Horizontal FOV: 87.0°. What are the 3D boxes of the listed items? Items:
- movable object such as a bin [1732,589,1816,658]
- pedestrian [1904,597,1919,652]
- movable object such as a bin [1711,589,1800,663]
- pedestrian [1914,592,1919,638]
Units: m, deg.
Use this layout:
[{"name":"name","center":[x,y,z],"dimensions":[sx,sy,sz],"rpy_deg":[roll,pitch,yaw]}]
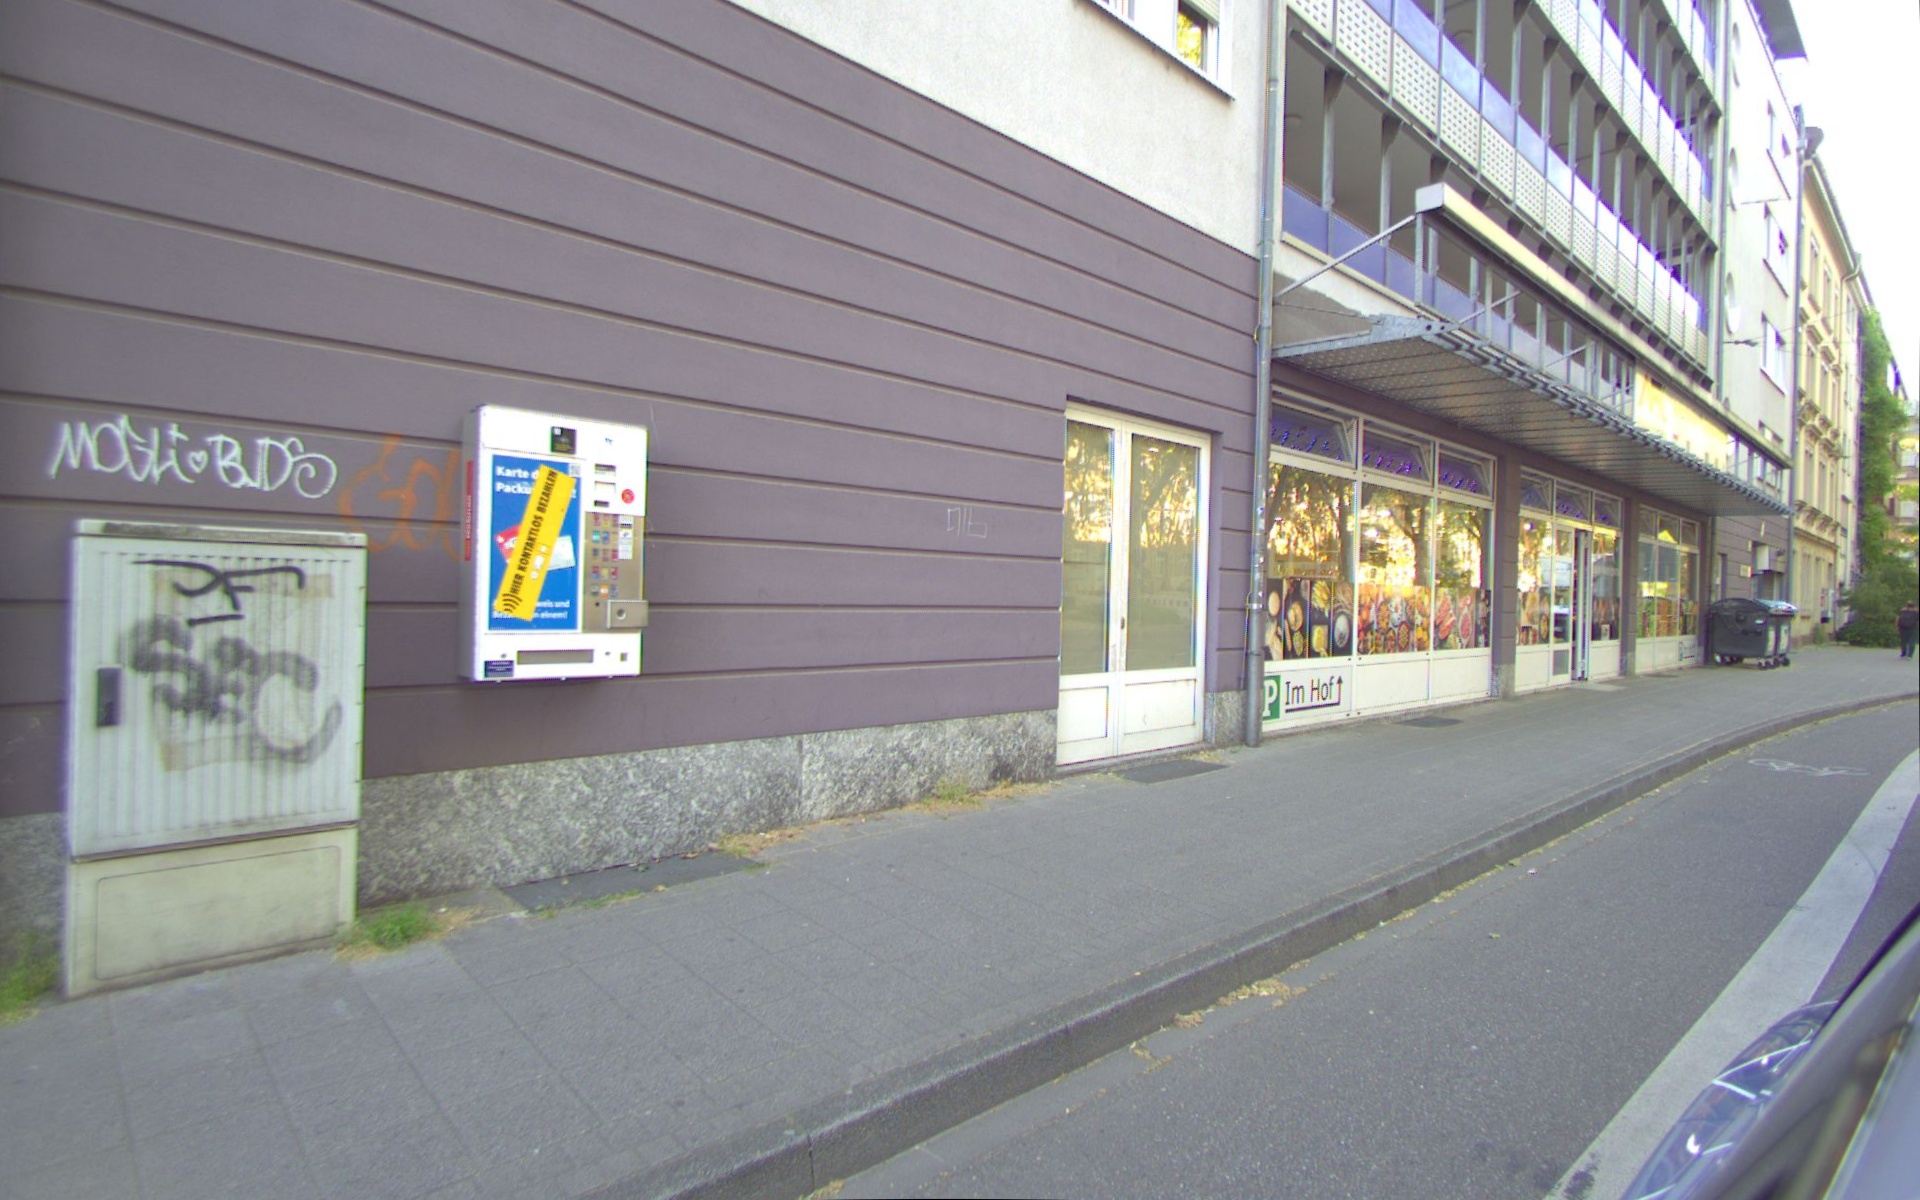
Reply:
[{"name":"movable object such as a bin","center":[17.884,0.490,22.238],"dimensions":[1.348,1.427,1.203],"rpy_deg":[1,1,-41]},{"name":"pedestrian","center":[25.841,0.648,27.250],"dimensions":[0.619,1.463,0.540],"rpy_deg":[1,1,-41]},{"name":"movable object such as a bin","center":[16.435,0.511,20.910],"dimensions":[1.348,1.427,1.203],"rpy_deg":[1,1,-41]},{"name":"pedestrian","center":[35.984,0.569,37.728],"dimensions":[0.504,1.693,0.540],"rpy_deg":[1,1,-41]}]
